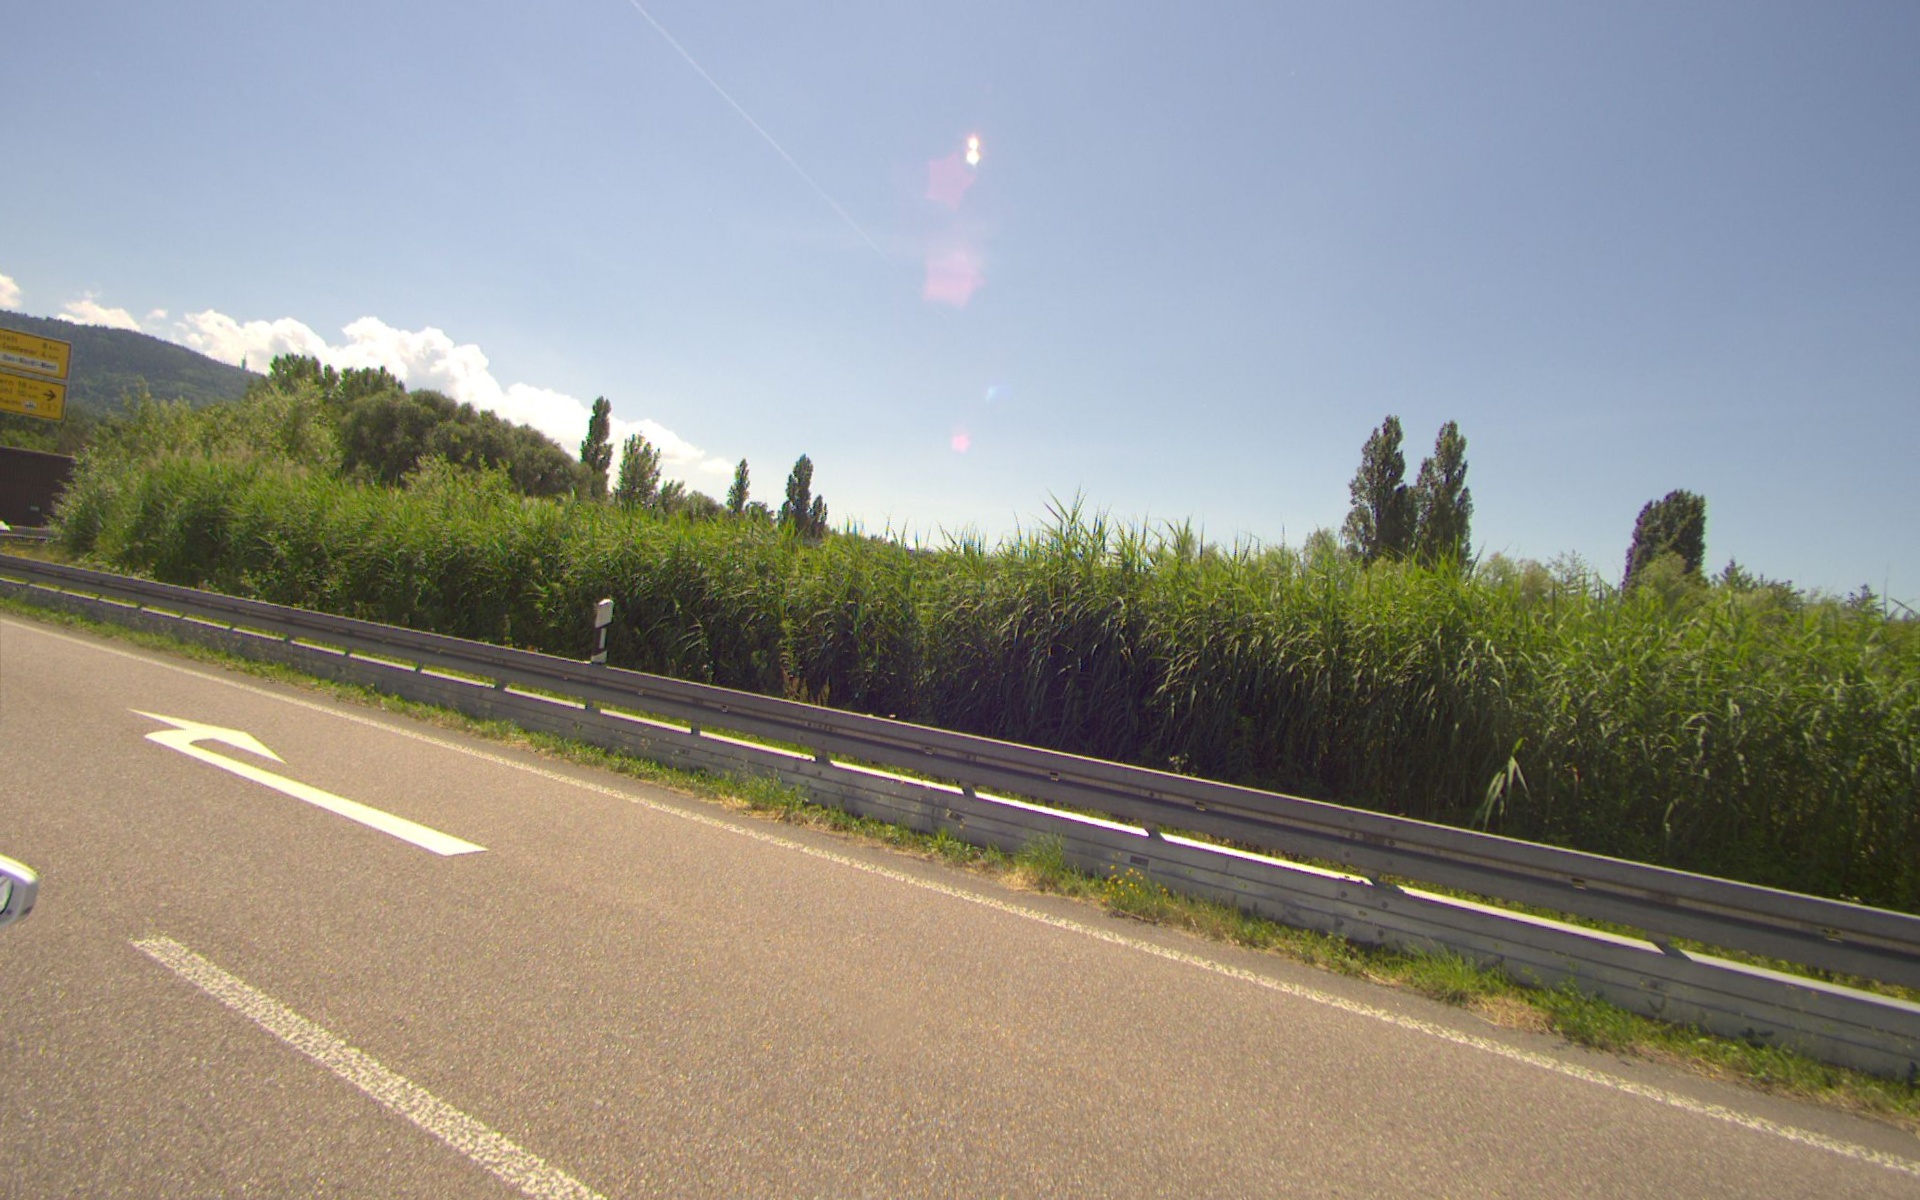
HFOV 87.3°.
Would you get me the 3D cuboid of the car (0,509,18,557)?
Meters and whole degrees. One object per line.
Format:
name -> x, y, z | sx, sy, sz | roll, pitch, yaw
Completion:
car -> -29.910, -2.181, 29.507 | 1.634, 1.447, 3.361 | 7, -2, -11
